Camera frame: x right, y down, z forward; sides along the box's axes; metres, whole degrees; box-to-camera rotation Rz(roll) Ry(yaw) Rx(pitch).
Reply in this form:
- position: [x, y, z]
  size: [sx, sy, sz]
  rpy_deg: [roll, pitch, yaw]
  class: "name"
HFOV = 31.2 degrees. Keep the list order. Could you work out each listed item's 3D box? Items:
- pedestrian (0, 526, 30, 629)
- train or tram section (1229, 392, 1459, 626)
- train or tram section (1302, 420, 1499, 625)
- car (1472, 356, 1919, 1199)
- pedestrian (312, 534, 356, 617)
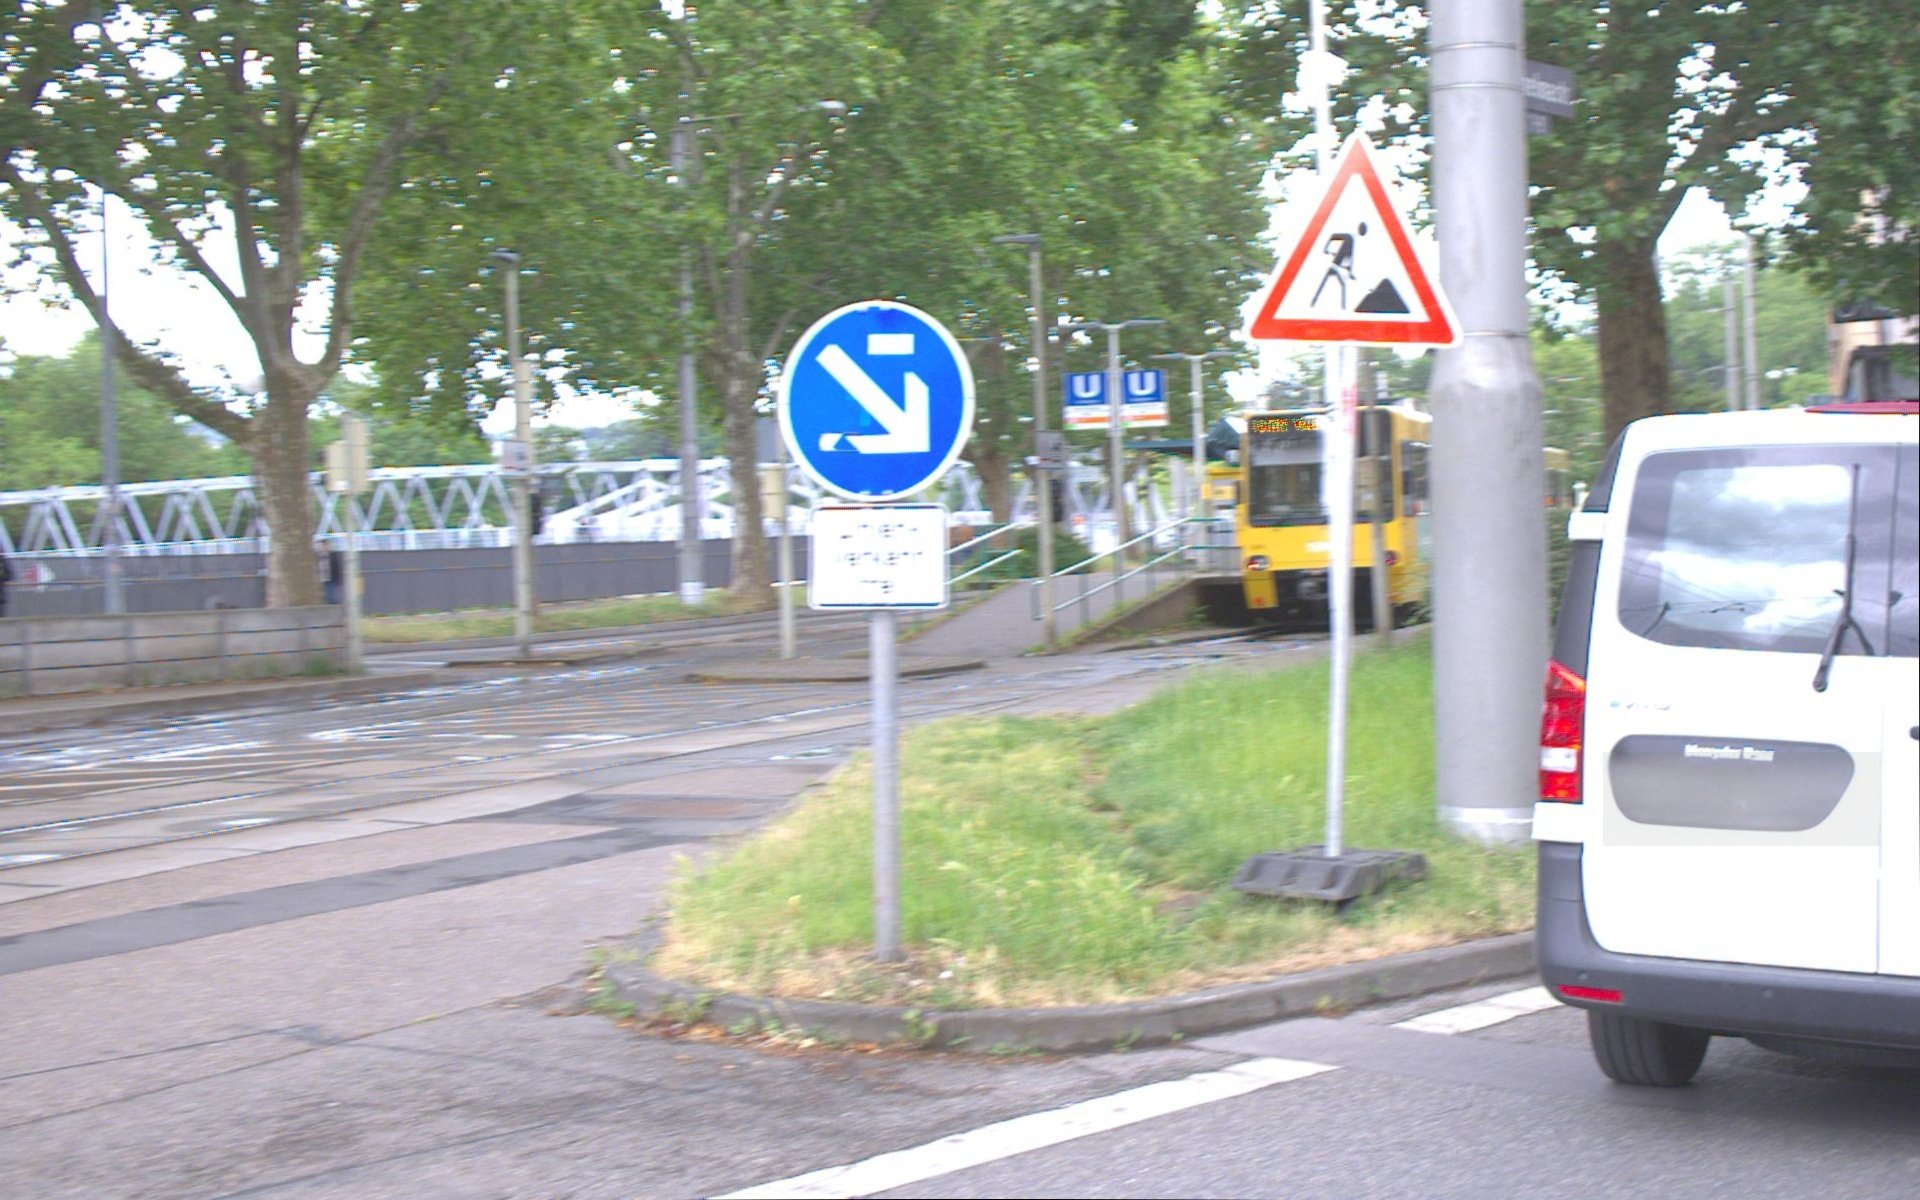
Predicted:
- position: [-13.611, -0.317, 48.983]
  size: [0.471, 1.446, 0.511]
  rpy_deg: [-2, -1, 12]
  class: "pedestrian"
- position: [6.331, -1.347, 55.655]
  size: [2.581, 3.439, 7.751]
  rpy_deg: [-2, -1, 14]
  class: "train or tram section"
- position: [8.194, -1.321, 63.191]
  size: [2.581, 3.439, 7.751]
  rpy_deg: [-2, -1, 14]
  class: "train or tram section"
- position: [3.252, 0.427, 10.188]
  size: [1.954, 2.007, 4.690]
  rpy_deg: [0, 0, 28]
  class: "car"
- position: [-11.385, -0.442, 62.548]
  size: [0.544, 1.493, 0.644]
  rpy_deg: [-2, -1, 12]
  class: "pedestrian"
